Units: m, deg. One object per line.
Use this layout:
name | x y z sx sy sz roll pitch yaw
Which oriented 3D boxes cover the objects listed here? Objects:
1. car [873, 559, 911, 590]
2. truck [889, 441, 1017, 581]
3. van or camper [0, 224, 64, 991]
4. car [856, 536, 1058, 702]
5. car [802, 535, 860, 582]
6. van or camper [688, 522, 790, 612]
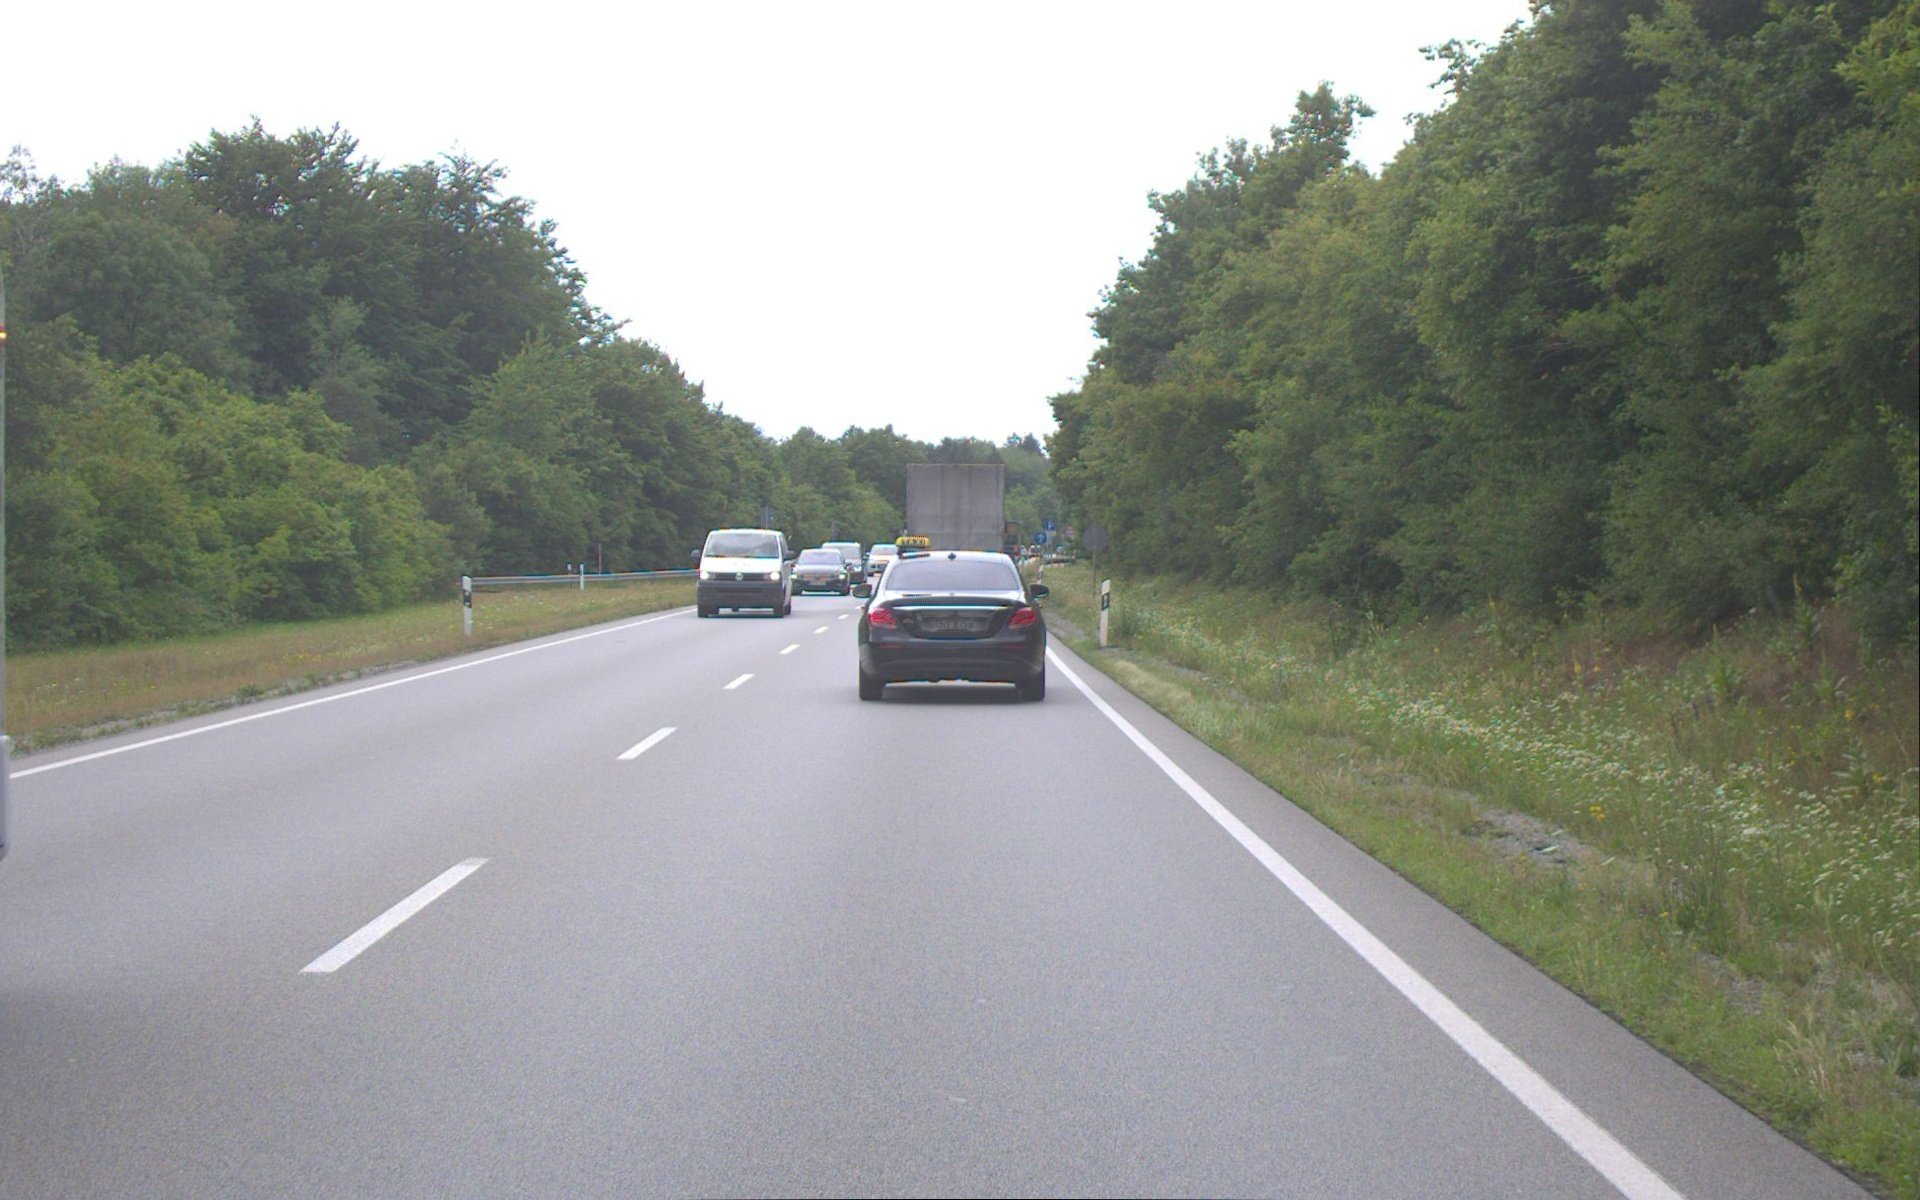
car | -3.571 -1.348 180.930 1.875 1.554 3.755 1 1 0
truck | -0.101 -2.373 94.945 3.281 3.599 11.400 1 1 1
van or camper | -4.364 0.049 9.177 2.379 2.566 6.280 1 1 -1
car | -0.085 0.152 34.475 1.791 1.546 4.001 1 1 -3
car | -4.132 -1.331 110.450 1.688 1.474 4.456 1 1 0
van or camper | -4.850 -0.743 76.041 1.921 1.886 5.362 1 1 0
